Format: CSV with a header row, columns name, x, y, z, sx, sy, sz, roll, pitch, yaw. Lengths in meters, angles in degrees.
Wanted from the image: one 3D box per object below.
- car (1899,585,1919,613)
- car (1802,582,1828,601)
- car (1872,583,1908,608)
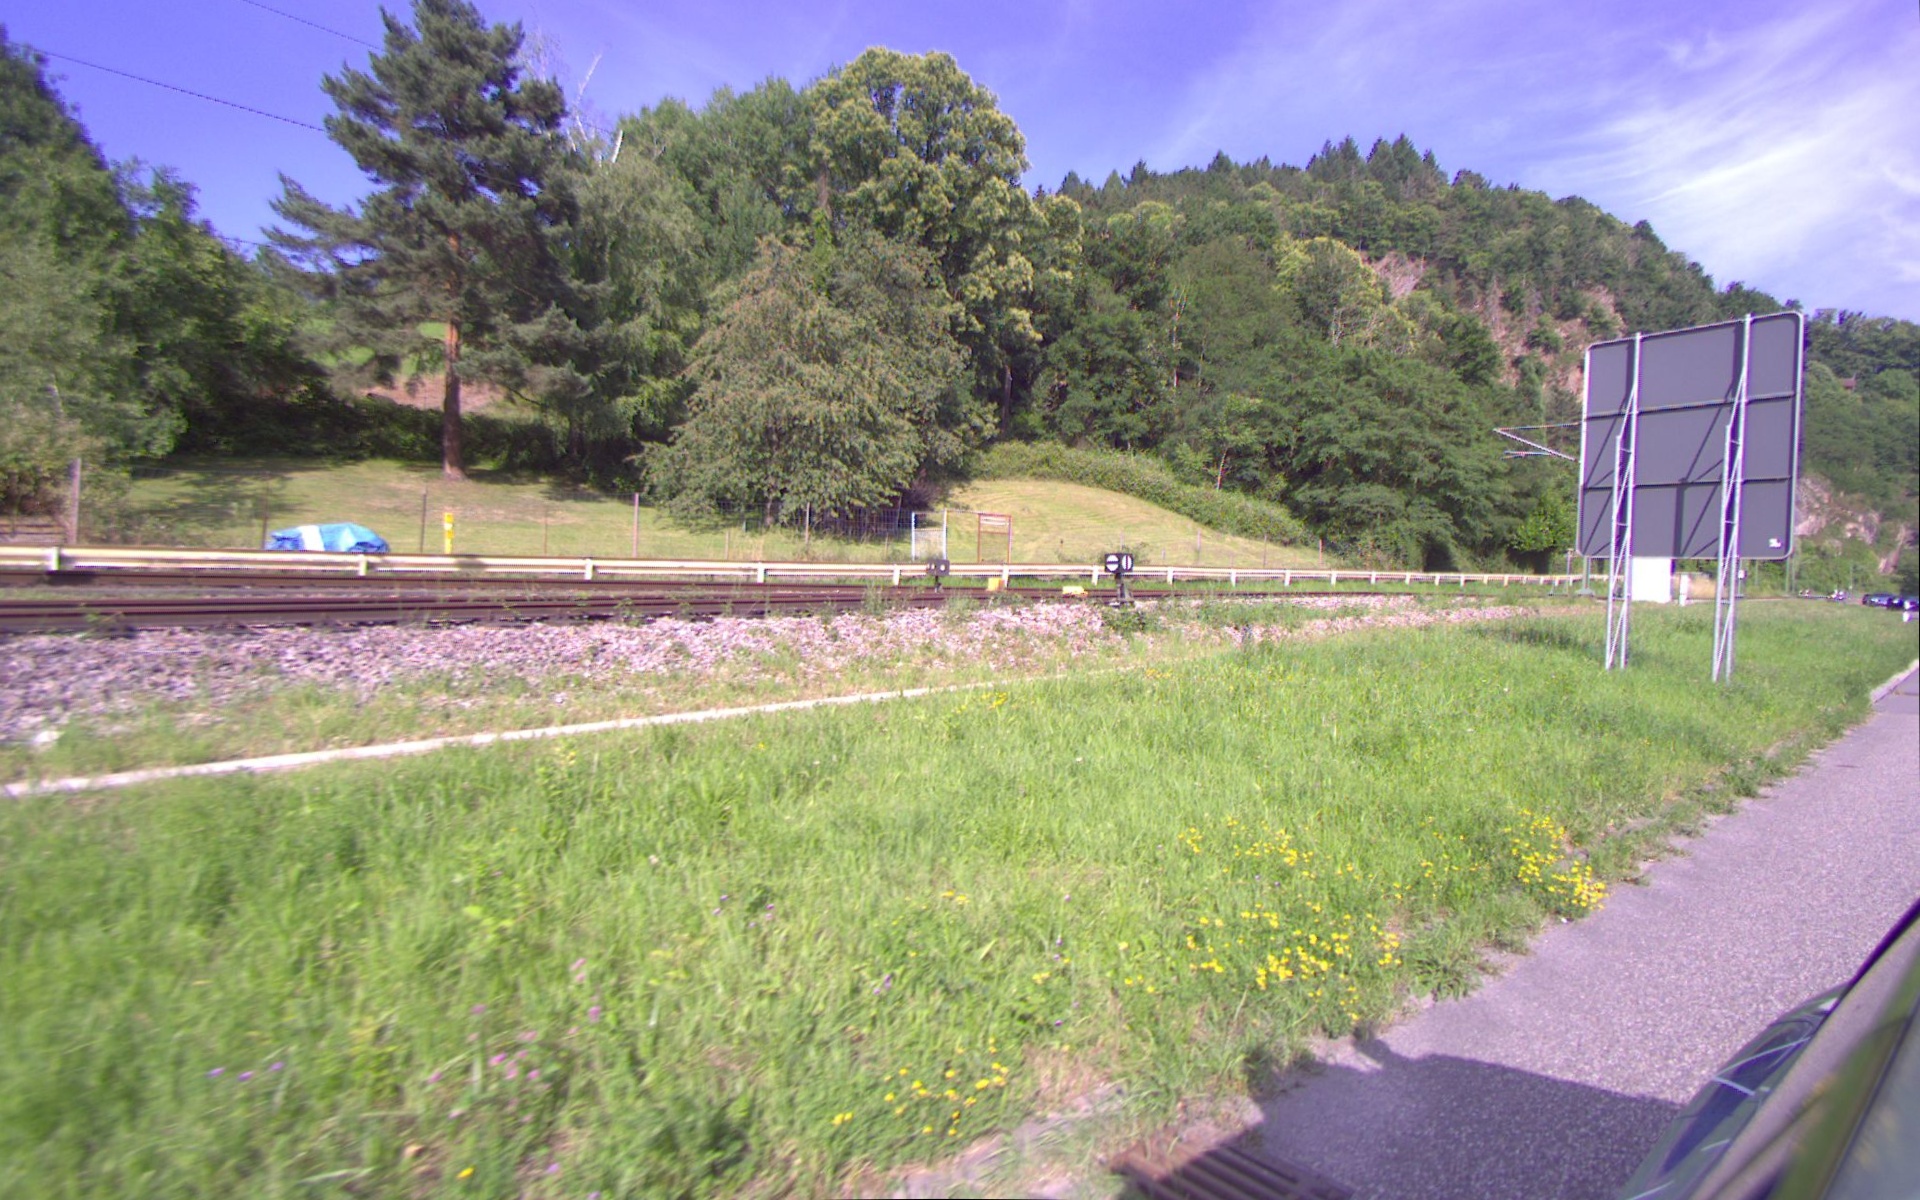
name,x,y,z,sx,sy,sz,roll,pitch,yaw
car,73.215,-0.084,77.233,1.993,2.038,3.941,5,4,41
car,96.794,-0.953,114.510,1.994,2.038,3.939,5,4,42
car,82.713,-0.390,90.048,1.991,2.038,3.945,5,4,38
